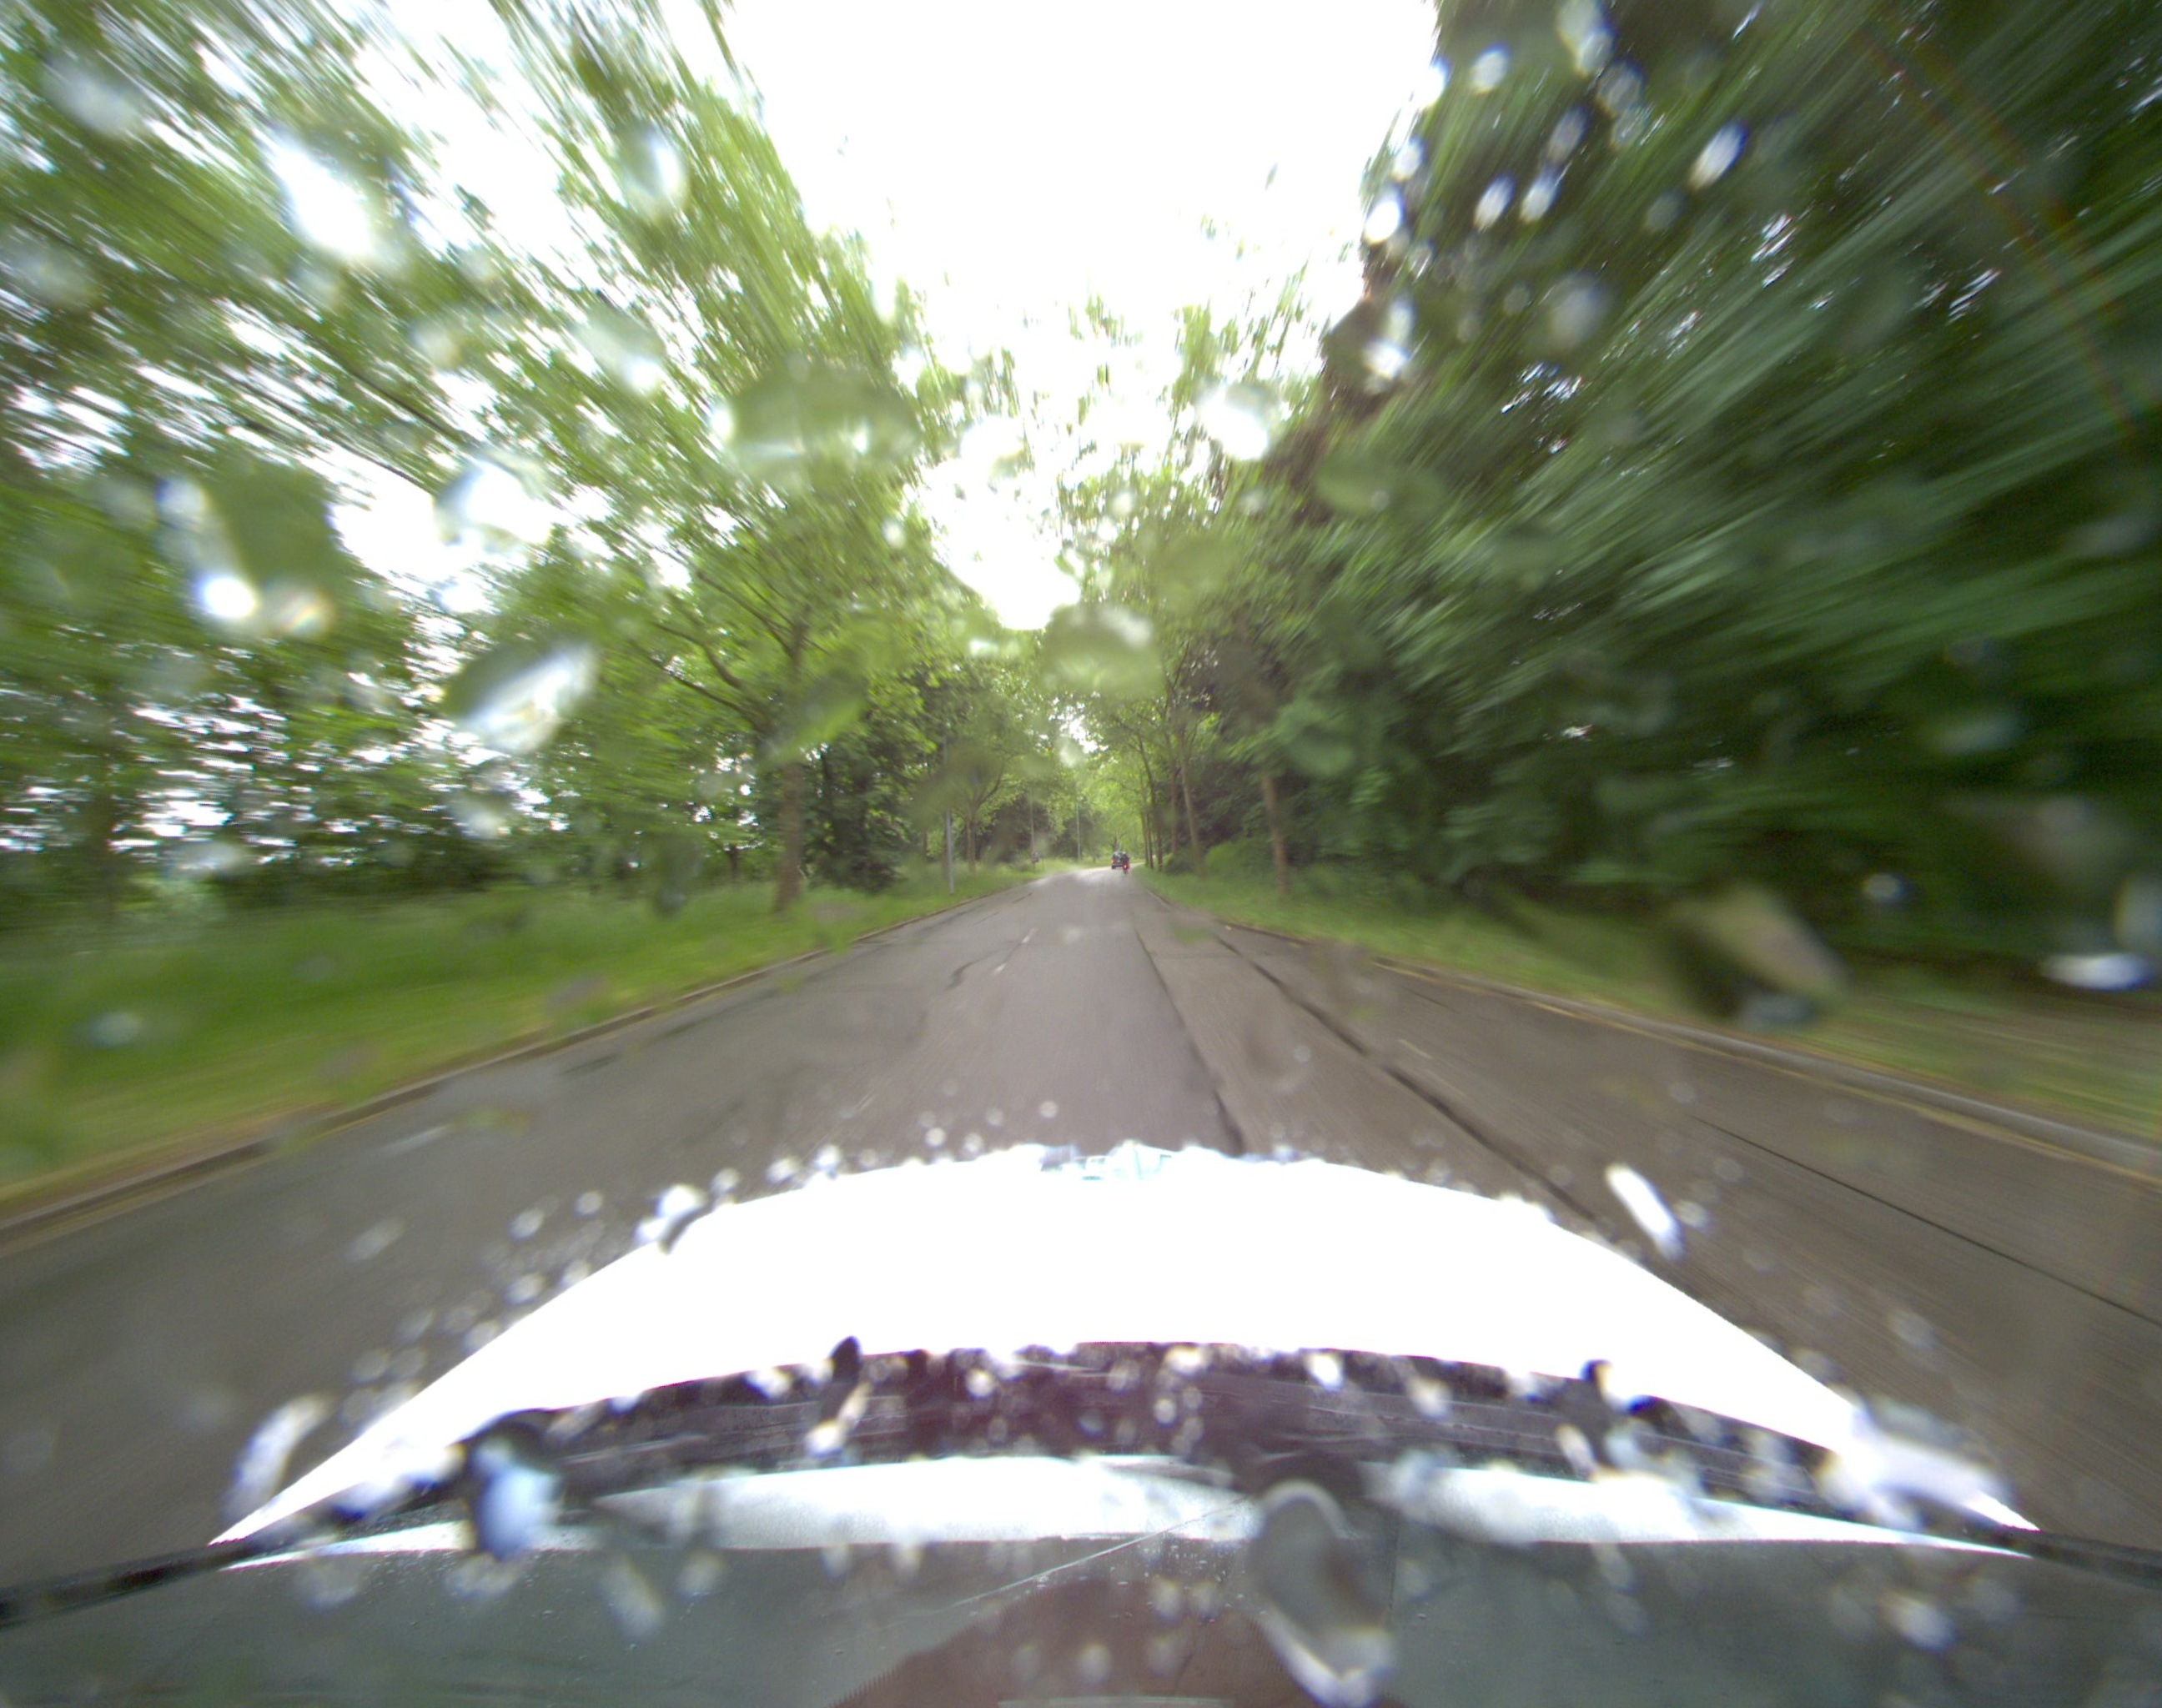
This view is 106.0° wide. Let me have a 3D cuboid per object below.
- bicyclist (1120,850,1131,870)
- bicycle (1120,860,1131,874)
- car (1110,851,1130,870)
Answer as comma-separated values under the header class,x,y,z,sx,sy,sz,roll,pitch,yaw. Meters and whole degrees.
class,x,y,z,sx,sy,sz,roll,pitch,yaw
bicyclist,3.167,0.412,58.405,0.726,1.411,0.974,-1,0,5
bicycle,3.189,0.938,58.482,0.726,0.974,2.176,-1,0,5
car,4.170,0.681,87.487,1.977,1.926,4.003,-2,0,3
